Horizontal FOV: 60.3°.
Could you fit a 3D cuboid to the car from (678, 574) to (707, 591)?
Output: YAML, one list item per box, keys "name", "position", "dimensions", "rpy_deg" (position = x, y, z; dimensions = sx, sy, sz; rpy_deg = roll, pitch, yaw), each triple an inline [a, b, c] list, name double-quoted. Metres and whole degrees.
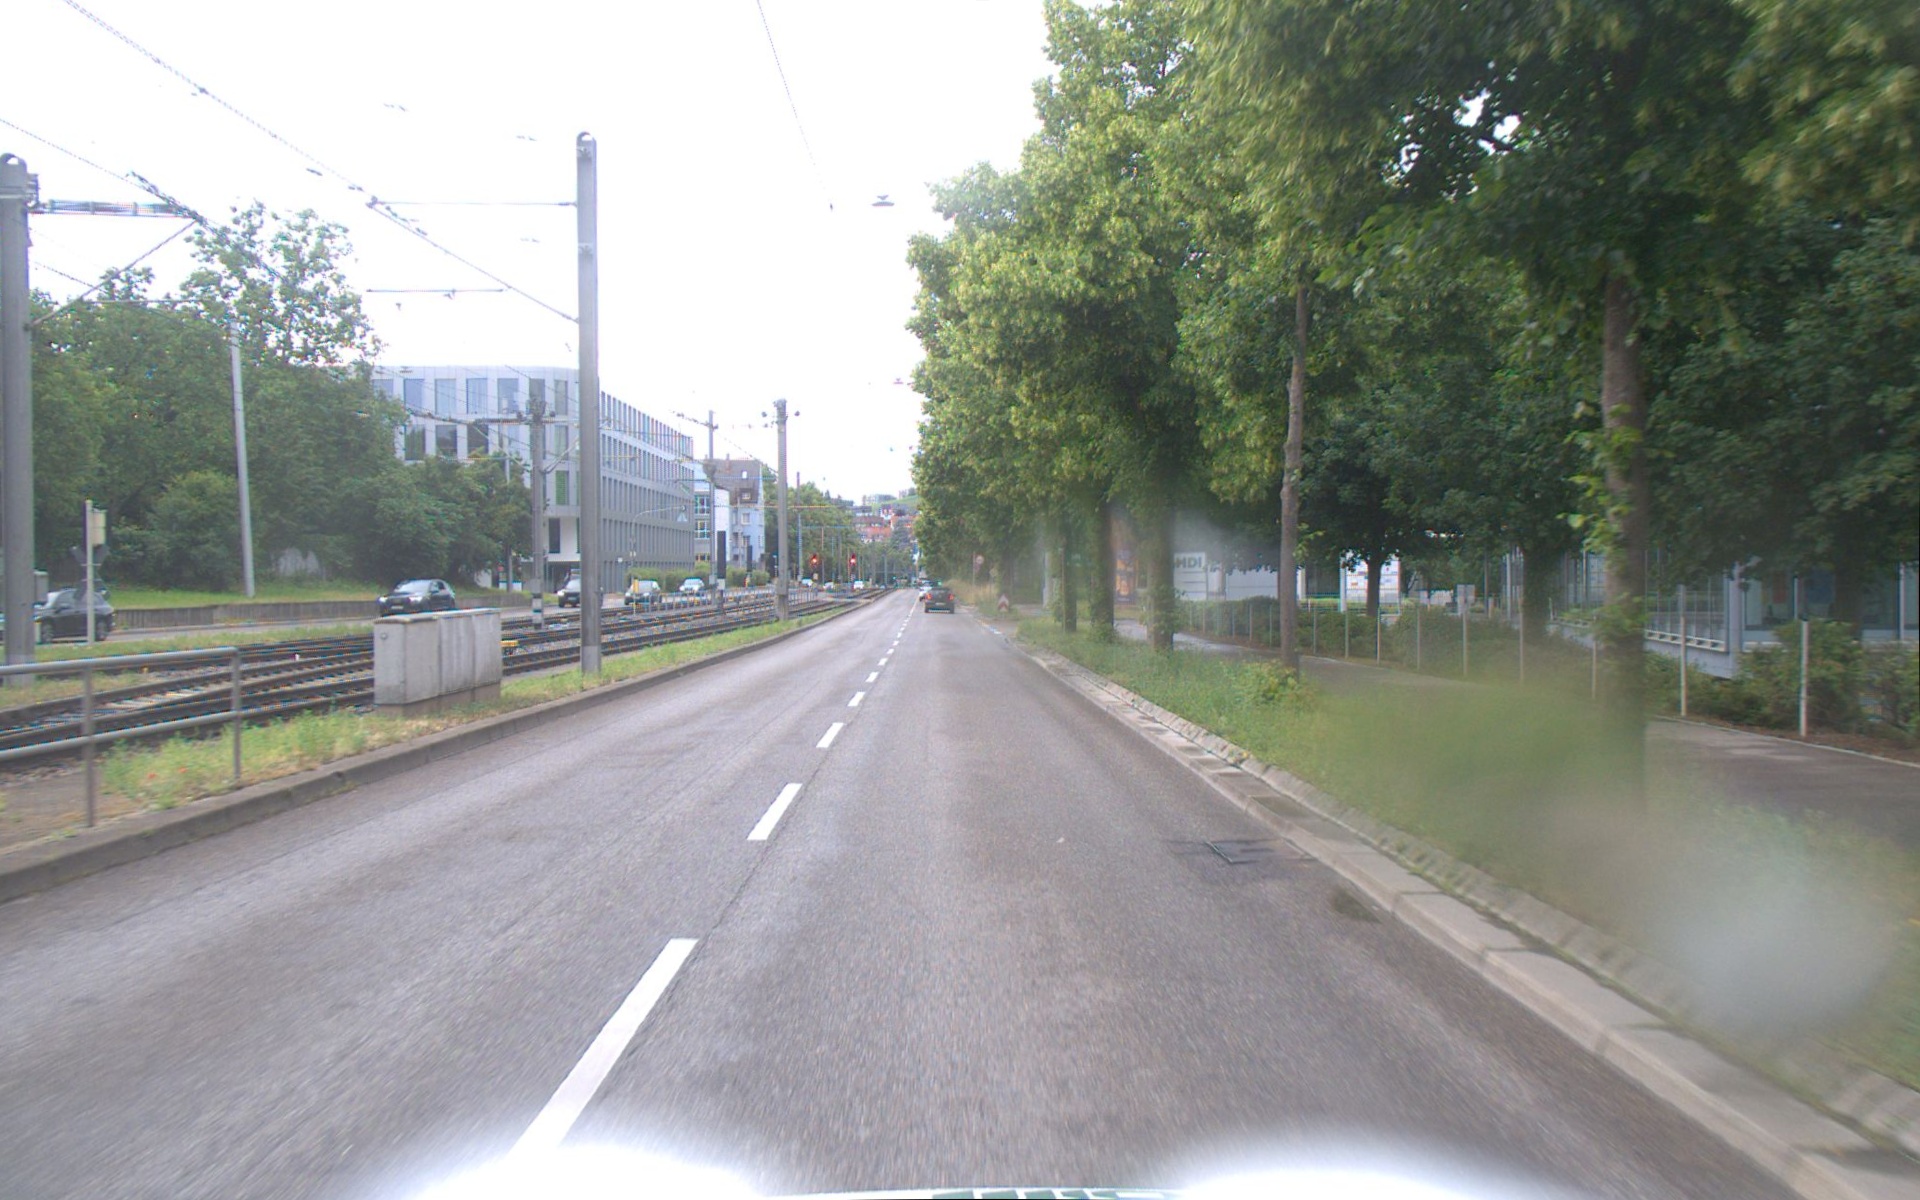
- name: "car"
  position: [-22.477, -1.481, 139.222]
  dimensions: [1.724, 1.422, 3.901]
  rpy_deg: [0, 1, 2]

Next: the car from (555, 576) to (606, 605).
- name: "car"
  position: [-22.623, -0.585, 98.693]
  dimensions: [1.908, 1.623, 4.847]
  rpy_deg: [0, 1, 0]

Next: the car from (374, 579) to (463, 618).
- name: "car"
  position: [-23.476, -0.102, 71.896]
  dimensions: [2.046, 1.616, 5.160]
  rpy_deg: [0, 1, 2]

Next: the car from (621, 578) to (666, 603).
- name: "car"
  position: [-19.825, -0.592, 103.756]
  dimensions: [1.852, 1.512, 4.309]
  rpy_deg: [0, 1, 2]

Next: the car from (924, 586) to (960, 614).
- name: "car"
  position: [-1.023, -0.007, 92.162]
  dimensions: [1.942, 1.466, 4.473]
  rpy_deg: [0, 1, -1]

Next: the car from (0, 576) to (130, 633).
- name: "car"
  position: [-24.723, 0.091, 44.885]
  dimensions: [1.887, 1.472, 4.683]
  rpy_deg: [0, 1, 2]

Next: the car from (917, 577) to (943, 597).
- name: "car"
  position: [-2.259, -0.989, 126.177]
  dimensions: [1.942, 1.466, 4.473]
  rpy_deg: [0, 1, -1]

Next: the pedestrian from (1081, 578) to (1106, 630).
- name: "pedestrian"
  position: [4.794, 0.133, 59.292]
  dimensions: [0.809, 1.828, 0.867]
  rpy_deg: [1, 0, -1]

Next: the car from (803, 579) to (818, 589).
- name: "car"
  position: [-20.744, -2.221, 229.780]
  dimensions: [1.720, 1.265, 3.987]
  rpy_deg: [0, 1, -1]
